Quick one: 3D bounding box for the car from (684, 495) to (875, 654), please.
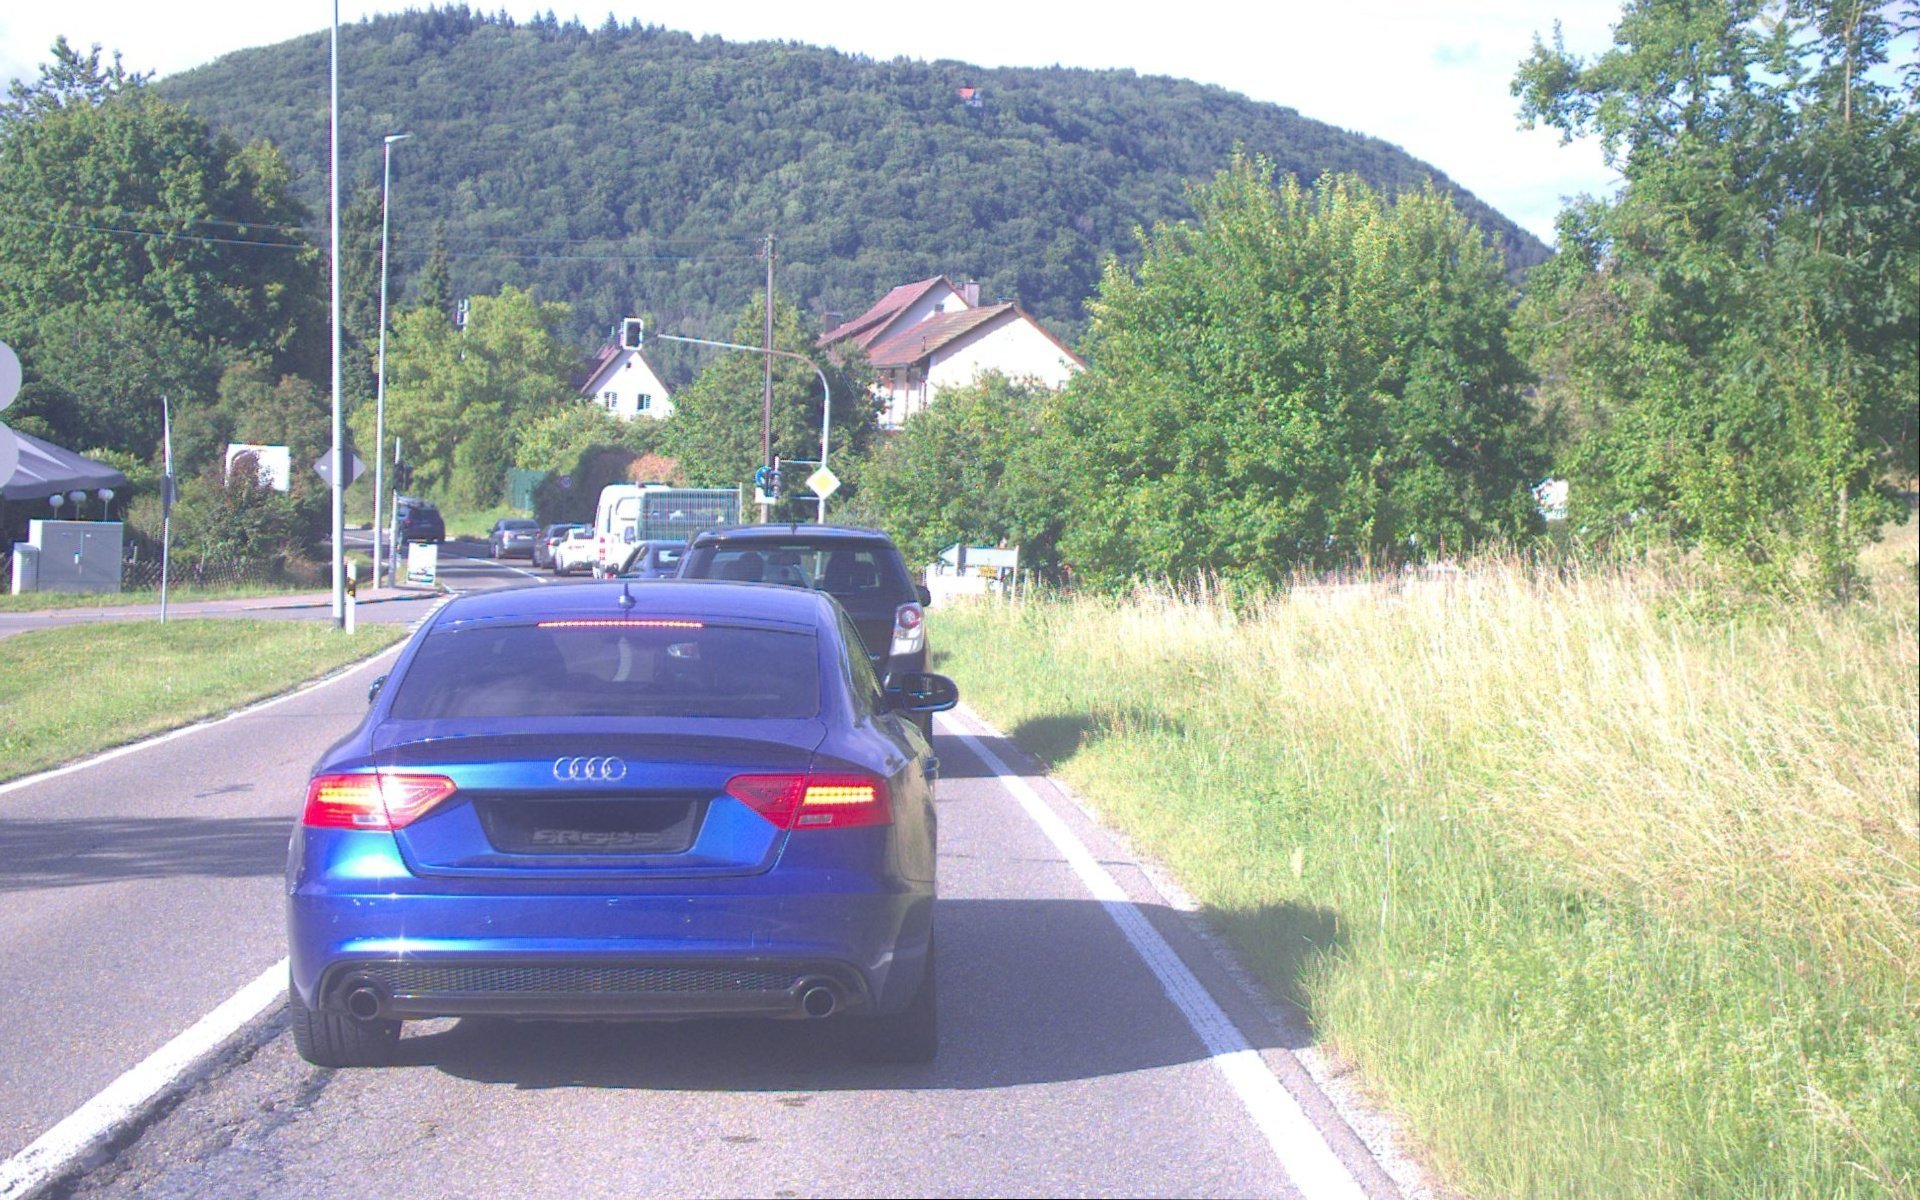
[{"bbox_3d":[-1.944,-0.286,38.195,1.805,1.634,4.463,1,0,1],"label":"car"}]

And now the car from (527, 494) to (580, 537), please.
[{"bbox_3d":[-14.714,-3.039,124.334,1.697,1.485,3.528,1,0,-9],"label":"car"}]

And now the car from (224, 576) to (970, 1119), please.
[{"bbox_3d":[-0.926,0.616,10.792,1.795,1.383,4.000,0,0,2],"label":"car"}]

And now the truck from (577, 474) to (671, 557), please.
[{"bbox_3d":[-8.375,-2.053,85.301,1.697,1.947,5.924,1,0,-12],"label":"truck"}]

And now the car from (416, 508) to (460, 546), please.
[{"bbox_3d":[-22.564,-3.159,148.536,1.625,1.571,3.680,1,0,-12],"label":"car"}]

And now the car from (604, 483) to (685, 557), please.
[{"bbox_3d":[-7.363,-1.847,80.002,1.746,1.634,4.001,1,0,-7],"label":"car"}]

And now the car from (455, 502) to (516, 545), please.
[{"bbox_3d":[-17.074,-2.734,123.592,1.697,1.485,3.528,1,0,-15],"label":"car"}]

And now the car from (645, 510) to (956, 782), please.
[{"bbox_3d":[-0.978,0.263,23.028,1.746,1.634,4.000,1,0,2],"label":"car"}]

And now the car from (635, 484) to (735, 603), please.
[{"bbox_3d":[-5.277,-1.066,65.624,1.746,2.188,4.001,1,0,-7],"label":"car"}]

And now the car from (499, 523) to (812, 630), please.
[{"bbox_3d":[-4.316,-0.341,48.858,3.990,1.437,1.918,1,0,18],"label":"car"}]
